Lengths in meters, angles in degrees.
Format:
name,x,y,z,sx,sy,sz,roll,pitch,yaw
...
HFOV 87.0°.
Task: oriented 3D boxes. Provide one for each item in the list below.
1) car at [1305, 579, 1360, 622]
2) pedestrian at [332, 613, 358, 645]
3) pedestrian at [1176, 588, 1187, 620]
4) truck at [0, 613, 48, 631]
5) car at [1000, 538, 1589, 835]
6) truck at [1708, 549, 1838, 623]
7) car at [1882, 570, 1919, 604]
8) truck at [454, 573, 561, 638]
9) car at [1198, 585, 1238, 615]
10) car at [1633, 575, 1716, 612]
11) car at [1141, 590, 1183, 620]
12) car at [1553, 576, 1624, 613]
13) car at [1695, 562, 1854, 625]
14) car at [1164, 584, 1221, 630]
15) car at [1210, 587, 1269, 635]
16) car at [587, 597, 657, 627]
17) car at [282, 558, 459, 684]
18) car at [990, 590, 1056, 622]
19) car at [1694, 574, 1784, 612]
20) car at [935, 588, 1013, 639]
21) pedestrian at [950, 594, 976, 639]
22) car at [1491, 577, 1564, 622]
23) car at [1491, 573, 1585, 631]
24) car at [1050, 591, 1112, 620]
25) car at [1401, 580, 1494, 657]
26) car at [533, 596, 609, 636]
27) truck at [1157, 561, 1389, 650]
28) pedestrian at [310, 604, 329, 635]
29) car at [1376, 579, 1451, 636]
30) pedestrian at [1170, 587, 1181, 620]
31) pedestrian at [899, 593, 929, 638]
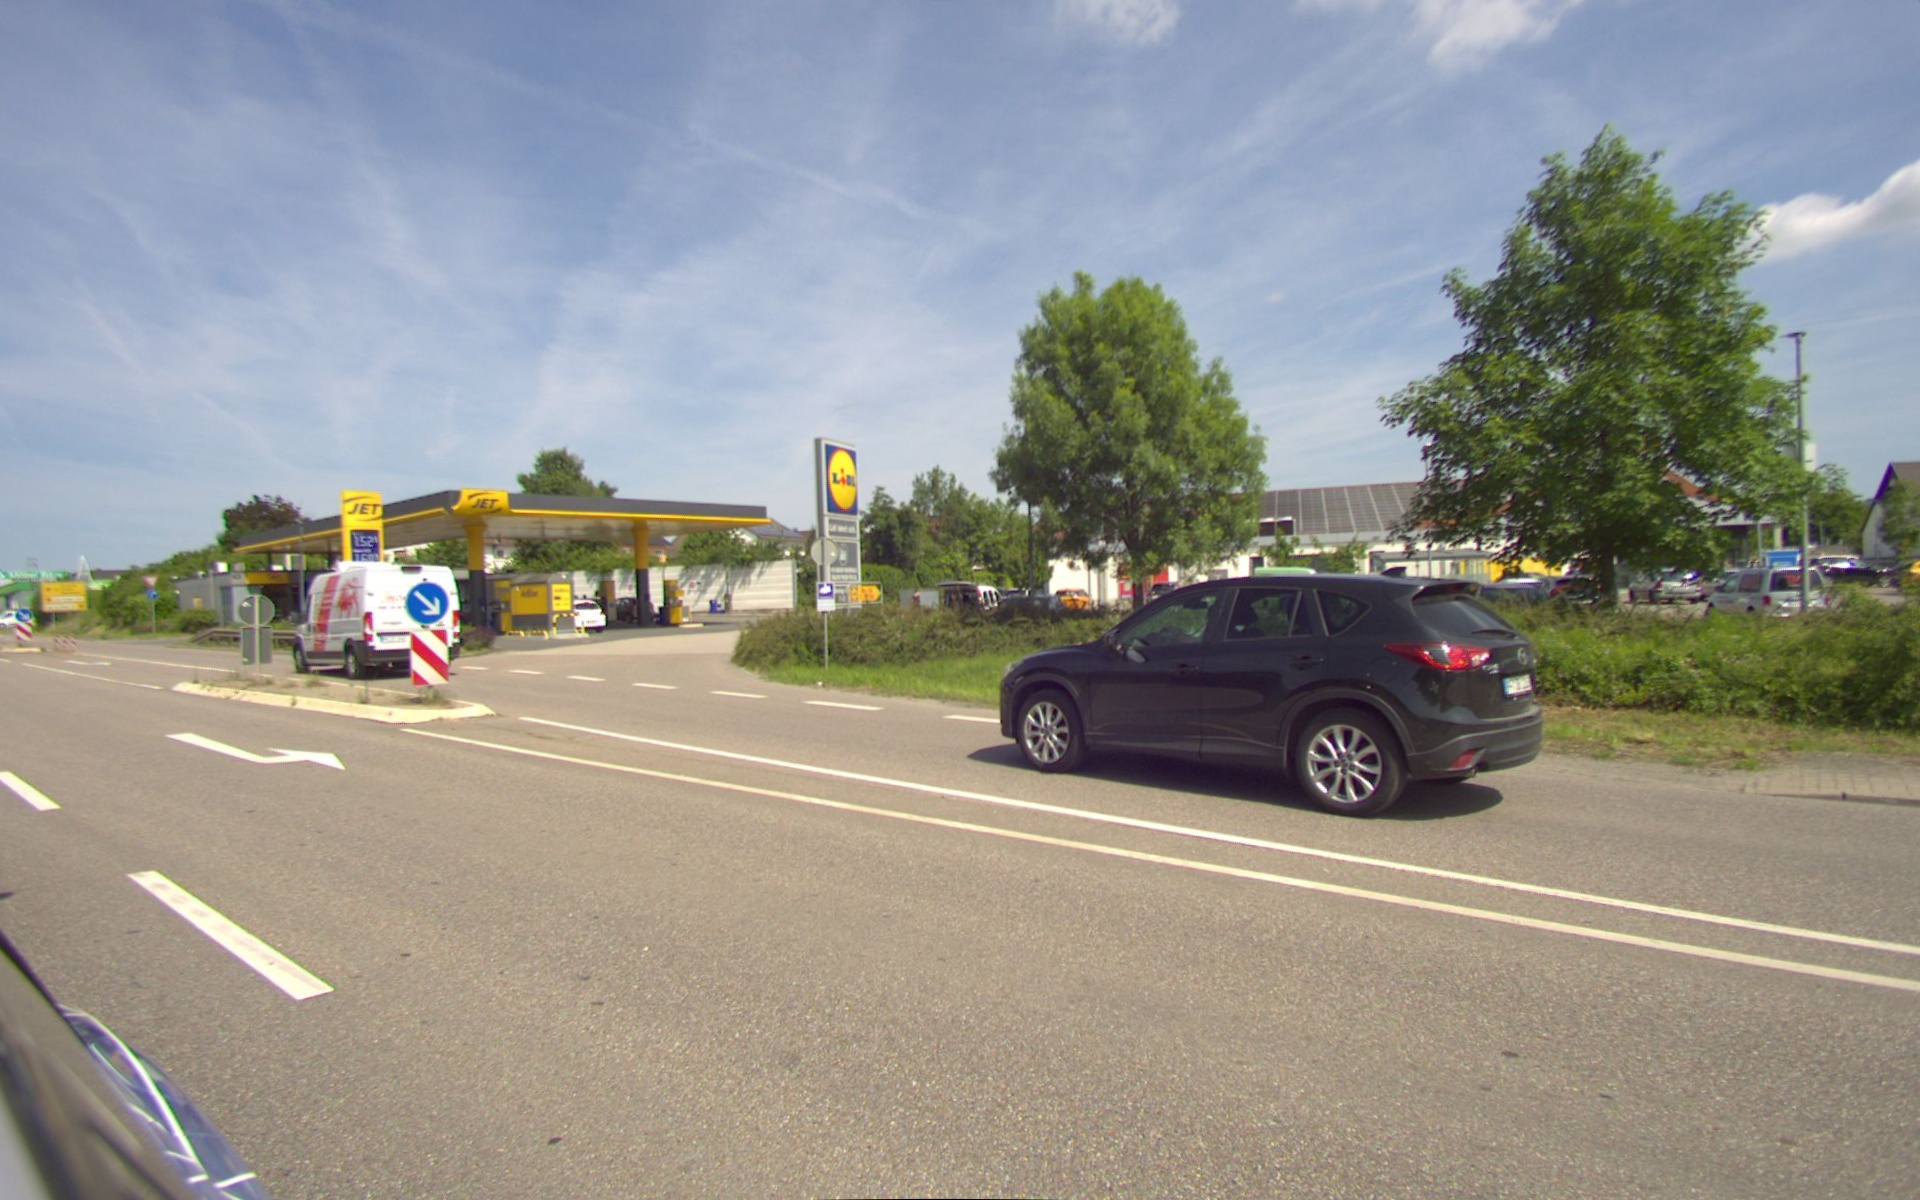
name,x,y,z,sx,sy,sz,roll,pitch,yaw
car,14.283,0.017,38.941,1.764,1.540,3.977,0,0,17
pedestrian,-28.364,1.345,46.653,0.494,1.438,0.903,-1,0,41
pedestrian,10.811,0.208,49.344,0.501,1.564,0.514,-1,0,17
truck,-111.996,2.627,120.619,2.000,2.024,4.707,-1,1,43
car,2.449,0.536,8.147,1.845,1.763,4.113,0,-1,-44
truck,27.881,-0.470,34.890,1.981,2.383,3.982,-1,0,14
car,45.134,-0.613,46.088,4.223,1.553,1.869,0,0,18
truck,-22.096,0.261,49.327,6.278,2.944,2.222,0,0,40
car,13.325,-0.036,52.236,1.868,1.453,3.981,-1,1,15
car,31.511,-0.290,44.762,1.865,1.553,4.231,0,0,20
car,10.480,0.220,52.295,1.868,1.453,3.981,-1,1,15
car,28.477,-0.248,45.995,1.865,1.553,4.231,0,0,20
car,24.226,-0.168,30.330,1.981,1.708,4.408,-1,0,14
car,9.347,0.228,40.487,1.850,1.688,4.399,-1,0,17
car,9.892,0.358,35.604,1.769,1.513,4.122,-1,1,18
car,-19.310,0.674,57.778,3.862,1.625,1.735,-2,-1,31
car,-14.281,0.499,24.316,5.986,2.674,2.094,-2,-1,43
car,3.435,0.297,54.510,1.765,1.551,3.956,-2,0,33
car,33.926,-0.294,44.217,1.865,1.553,4.231,0,0,20
car,0.602,0.479,38.729,1.865,1.825,4.145,-1,0,17
pedestrian,0.100,0.581,36.316,0.801,1.587,0.701,-1,0,13
car,20.595,-0.036,36.861,1.767,1.540,3.972,0,0,21
car,18.219,0.047,32.060,1.912,1.701,3.973,0,0,20
car,6.526,0.272,54.319,1.879,1.453,3.958,-1,1,31
car,11.429,0.396,23.949,1.683,1.670,3.971,0,0,22
car,-17.754,0.776,46.087,4.001,1.741,1.713,-2,-3,44
truck,9.161,0.191,30.028,6.295,2.393,2.237,-1,0,17
pedestrian,-39.233,1.195,61.970,0.639,1.852,0.788,-2,0,41
car,14.674,0.201,32.942,1.898,1.687,3.974,-1,1,20
pedestrian,10.397,0.172,48.862,0.501,1.564,0.515,-1,0,15
pedestrian,-1.646,0.546,36.365,0.808,1.587,0.695,-2,-1,39
